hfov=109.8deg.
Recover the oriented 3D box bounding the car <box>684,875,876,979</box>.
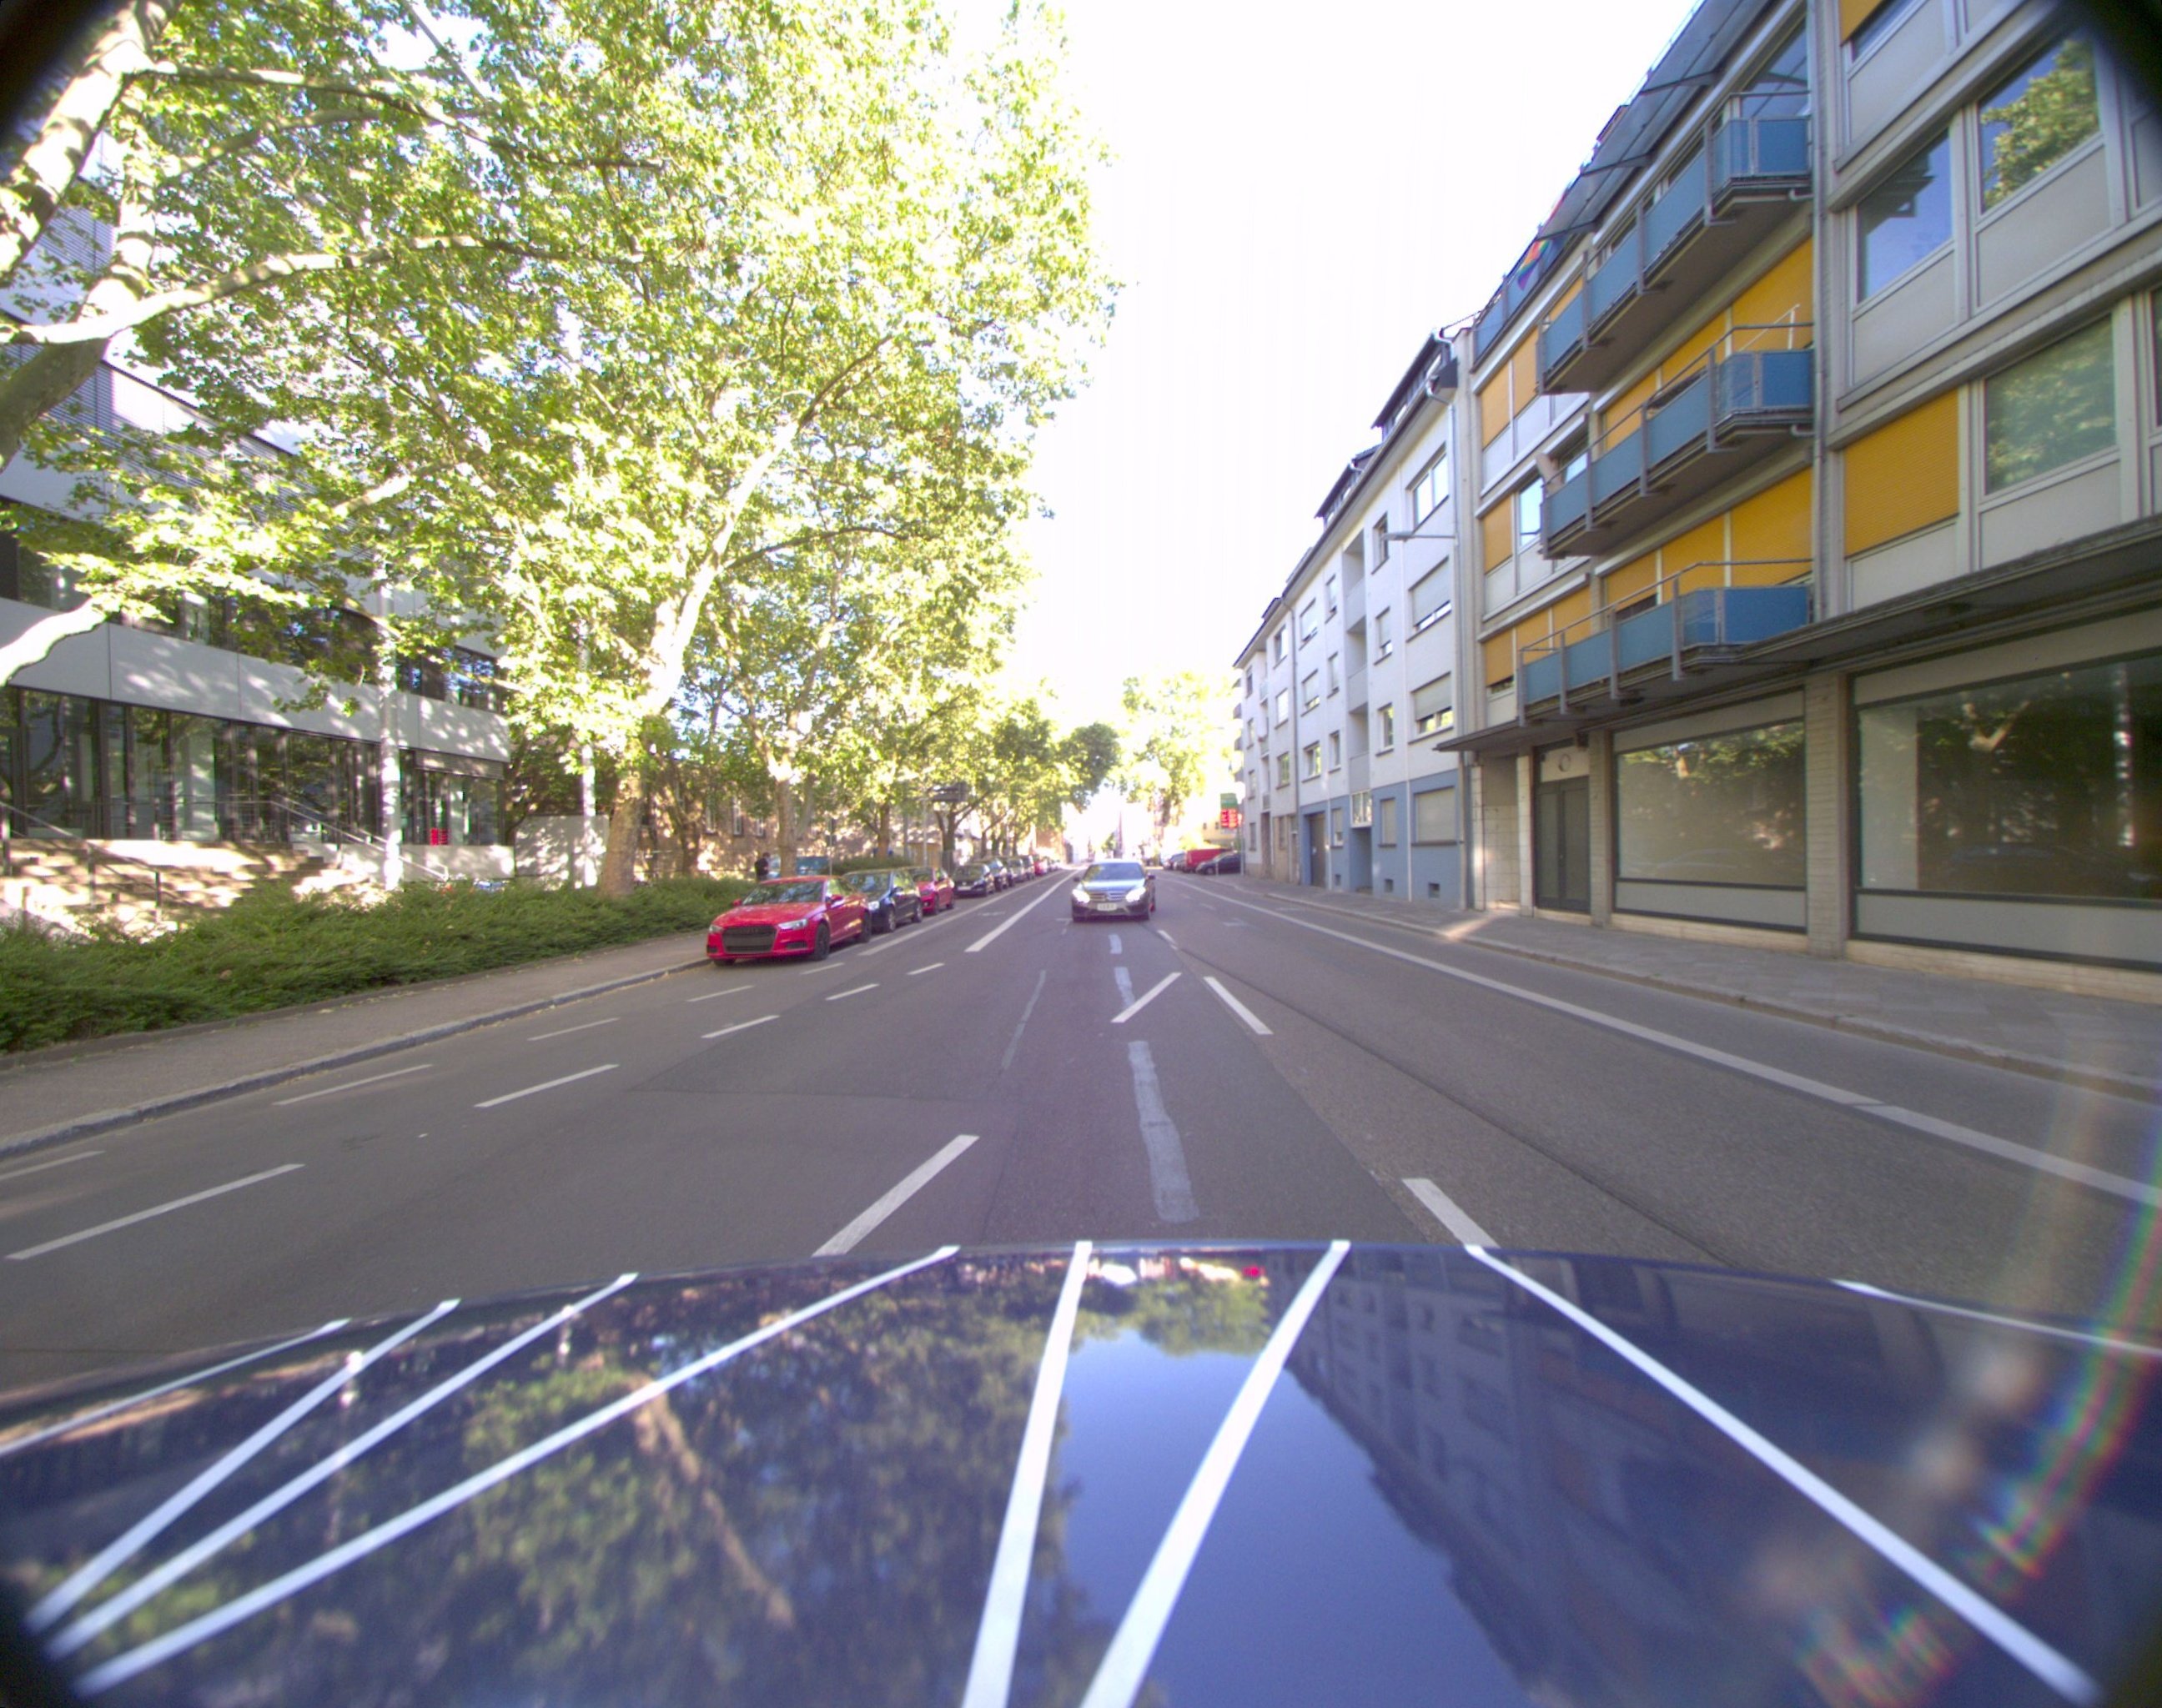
[{"bbox_3d":[-5.157,1.177,13.654,1.794,1.384,3.999,-2,1,0],"label":"car"}]

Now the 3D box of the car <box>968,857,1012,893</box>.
[{"bbox_3d":[-4.514,0.988,38.104,1.634,1.569,4.231,-2,1,0],"label":"car"}]

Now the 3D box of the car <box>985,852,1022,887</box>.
[{"bbox_3d":[-4.451,0.849,44.237,1.634,1.781,4.576,-2,1,0],"label":"car"}]

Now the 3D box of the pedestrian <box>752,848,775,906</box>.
[{"bbox_3d":[-11.279,0.816,27.008,0.552,2.002,0.562,-2,1,-11],"label":"pedestrian"}]

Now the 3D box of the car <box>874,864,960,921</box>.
[{"bbox_3d":[-5.009,1.130,23.681,1.692,1.441,3.923,-2,1,1],"label":"car"}]

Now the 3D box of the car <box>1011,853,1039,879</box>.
[{"bbox_3d":[-4.033,0.810,55.236,1.634,1.725,3.769,-2,1,0],"label":"car"}]

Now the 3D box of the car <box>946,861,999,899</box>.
[{"bbox_3d":[-4.689,1.108,33.233,1.692,1.414,3.923,-2,1,0],"label":"car"}]

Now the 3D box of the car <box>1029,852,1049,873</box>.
[{"bbox_3d":[-3.899,0.801,71.000,1.599,1.835,3.769,-2,1,0],"label":"car"}]

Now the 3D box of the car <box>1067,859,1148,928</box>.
[{"bbox_3d":[0.641,0.908,19.205,1.752,1.423,4.266,-2,0,1],"label":"car"}]

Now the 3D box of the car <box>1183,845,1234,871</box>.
[{"bbox_3d":[10.065,0.310,59.939,3.688,1.897,1.490,-2,-1,-1],"label":"car"}]

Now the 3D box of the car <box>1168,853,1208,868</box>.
[{"bbox_3d":[10.272,0.615,73.026,3.687,1.238,1.345,-2,1,2],"label":"car"}]

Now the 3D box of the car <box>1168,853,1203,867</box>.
[{"bbox_3d":[10.327,0.570,75.463,3.271,1.238,1.345,-2,1,2],"label":"car"}]

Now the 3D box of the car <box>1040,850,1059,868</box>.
[{"bbox_3d":[-3.808,0.582,91.839,1.998,2.002,4.000,-2,0,1],"label":"car"}]

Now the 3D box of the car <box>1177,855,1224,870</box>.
[{"bbox_3d":[9.816,0.682,62.585,3.687,1.122,1.345,-2,1,2],"label":"car"}]

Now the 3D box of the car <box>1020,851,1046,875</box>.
[{"bbox_3d":[-4.166,0.717,66.088,1.915,1.940,3.769,-2,1,0],"label":"car"}]

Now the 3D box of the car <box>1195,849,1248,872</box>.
[{"bbox_3d":[10.538,0.474,57.094,3.687,1.503,1.490,-2,1,2],"label":"car"}]

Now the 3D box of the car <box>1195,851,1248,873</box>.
[{"bbox_3d":[10.095,0.579,54.726,3.508,1.380,1.490,-2,1,2],"label":"car"}]

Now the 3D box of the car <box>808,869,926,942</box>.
[{"bbox_3d":[-5.046,1.159,18.408,1.669,1.410,3.697,-2,1,1],"label":"car"}]

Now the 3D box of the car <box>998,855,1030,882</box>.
[{"bbox_3d":[-4.349,0.935,50.109,1.634,1.604,4.576,-2,1,0],"label":"car"}]
